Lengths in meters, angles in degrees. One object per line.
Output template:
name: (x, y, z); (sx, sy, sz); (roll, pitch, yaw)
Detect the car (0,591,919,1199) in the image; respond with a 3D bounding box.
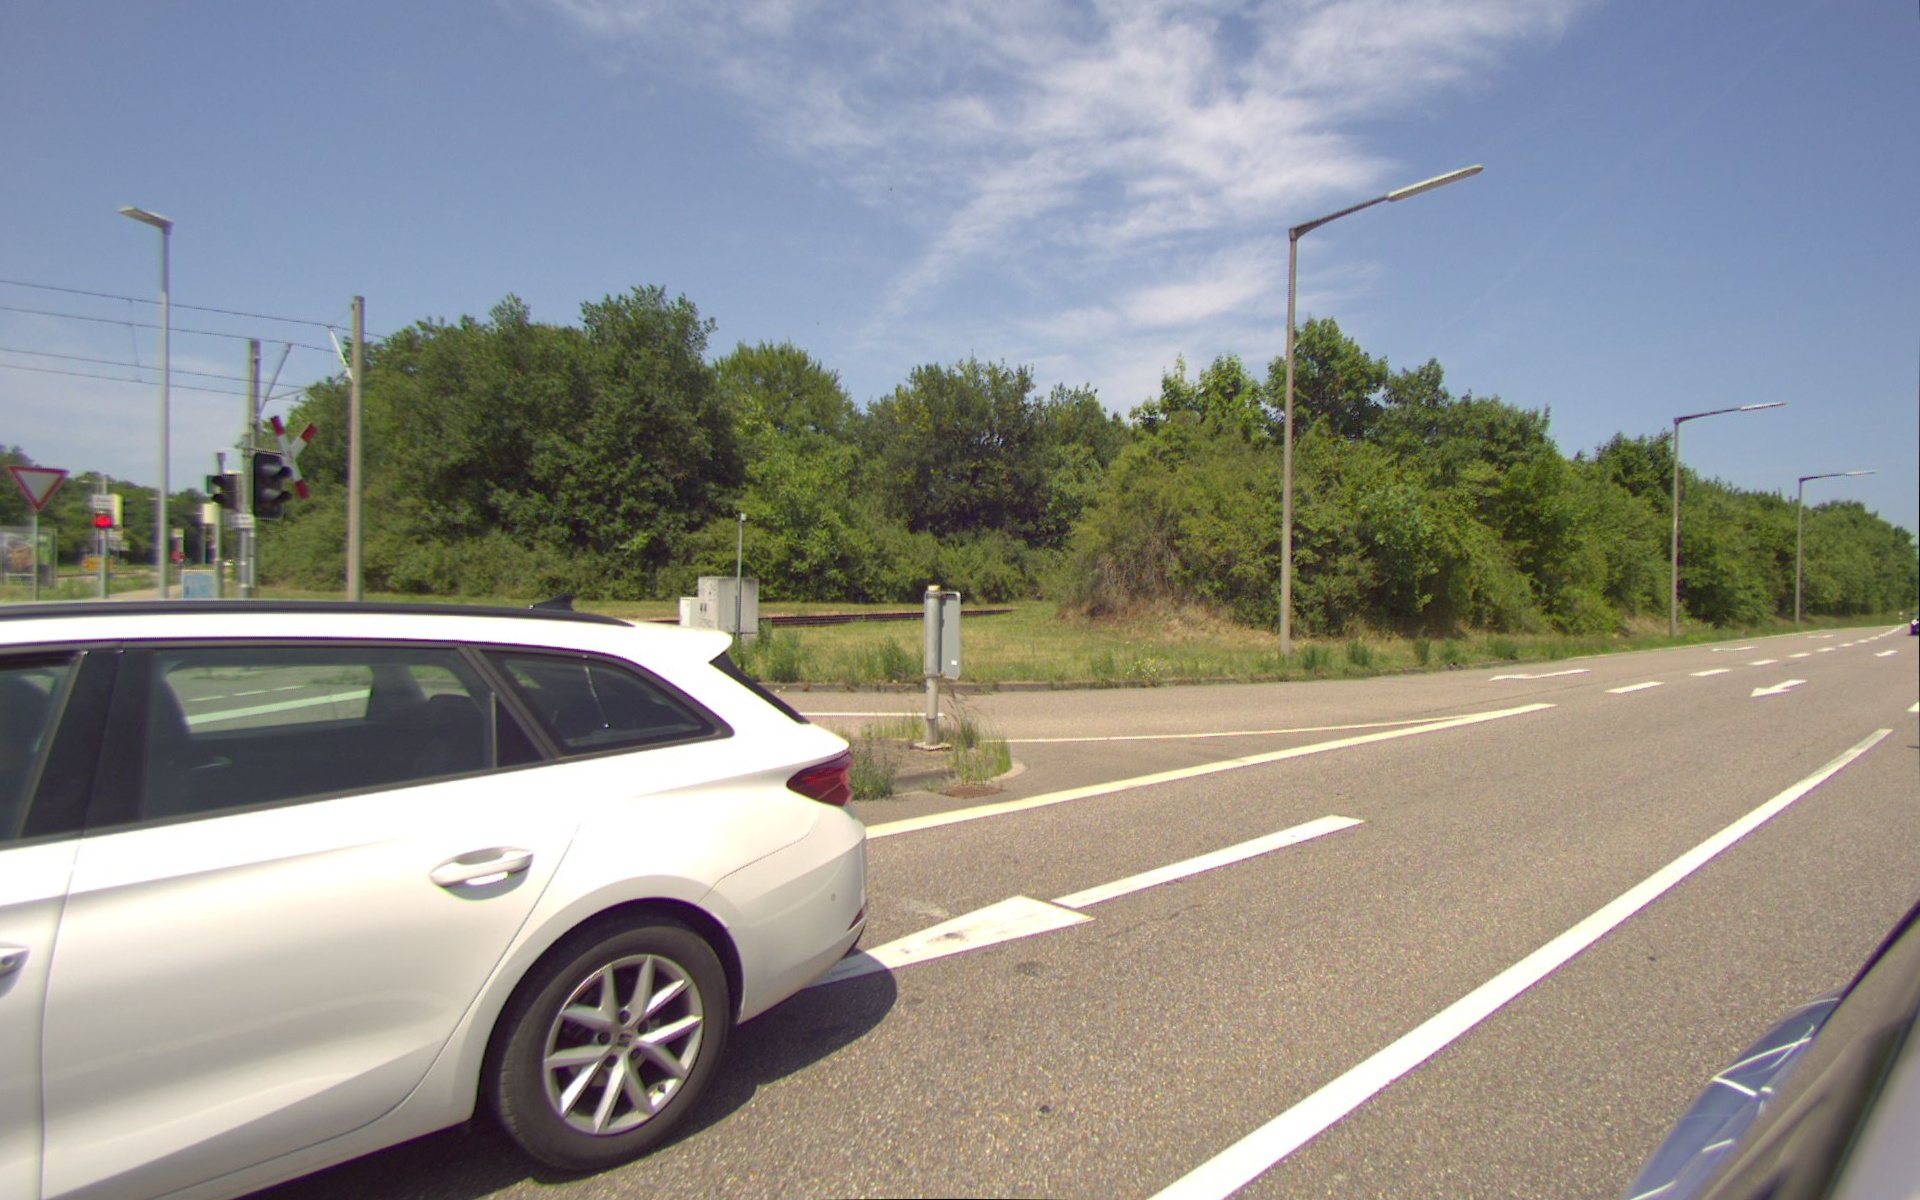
car: (-2.304, 0.696, 2.378); (4.375, 1.407, 1.684); (0, 1, -43)

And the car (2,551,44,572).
car: (-77.729, -3.199, 83.987); (1.640, 1.600, 4.004); (2, 0, -30)
